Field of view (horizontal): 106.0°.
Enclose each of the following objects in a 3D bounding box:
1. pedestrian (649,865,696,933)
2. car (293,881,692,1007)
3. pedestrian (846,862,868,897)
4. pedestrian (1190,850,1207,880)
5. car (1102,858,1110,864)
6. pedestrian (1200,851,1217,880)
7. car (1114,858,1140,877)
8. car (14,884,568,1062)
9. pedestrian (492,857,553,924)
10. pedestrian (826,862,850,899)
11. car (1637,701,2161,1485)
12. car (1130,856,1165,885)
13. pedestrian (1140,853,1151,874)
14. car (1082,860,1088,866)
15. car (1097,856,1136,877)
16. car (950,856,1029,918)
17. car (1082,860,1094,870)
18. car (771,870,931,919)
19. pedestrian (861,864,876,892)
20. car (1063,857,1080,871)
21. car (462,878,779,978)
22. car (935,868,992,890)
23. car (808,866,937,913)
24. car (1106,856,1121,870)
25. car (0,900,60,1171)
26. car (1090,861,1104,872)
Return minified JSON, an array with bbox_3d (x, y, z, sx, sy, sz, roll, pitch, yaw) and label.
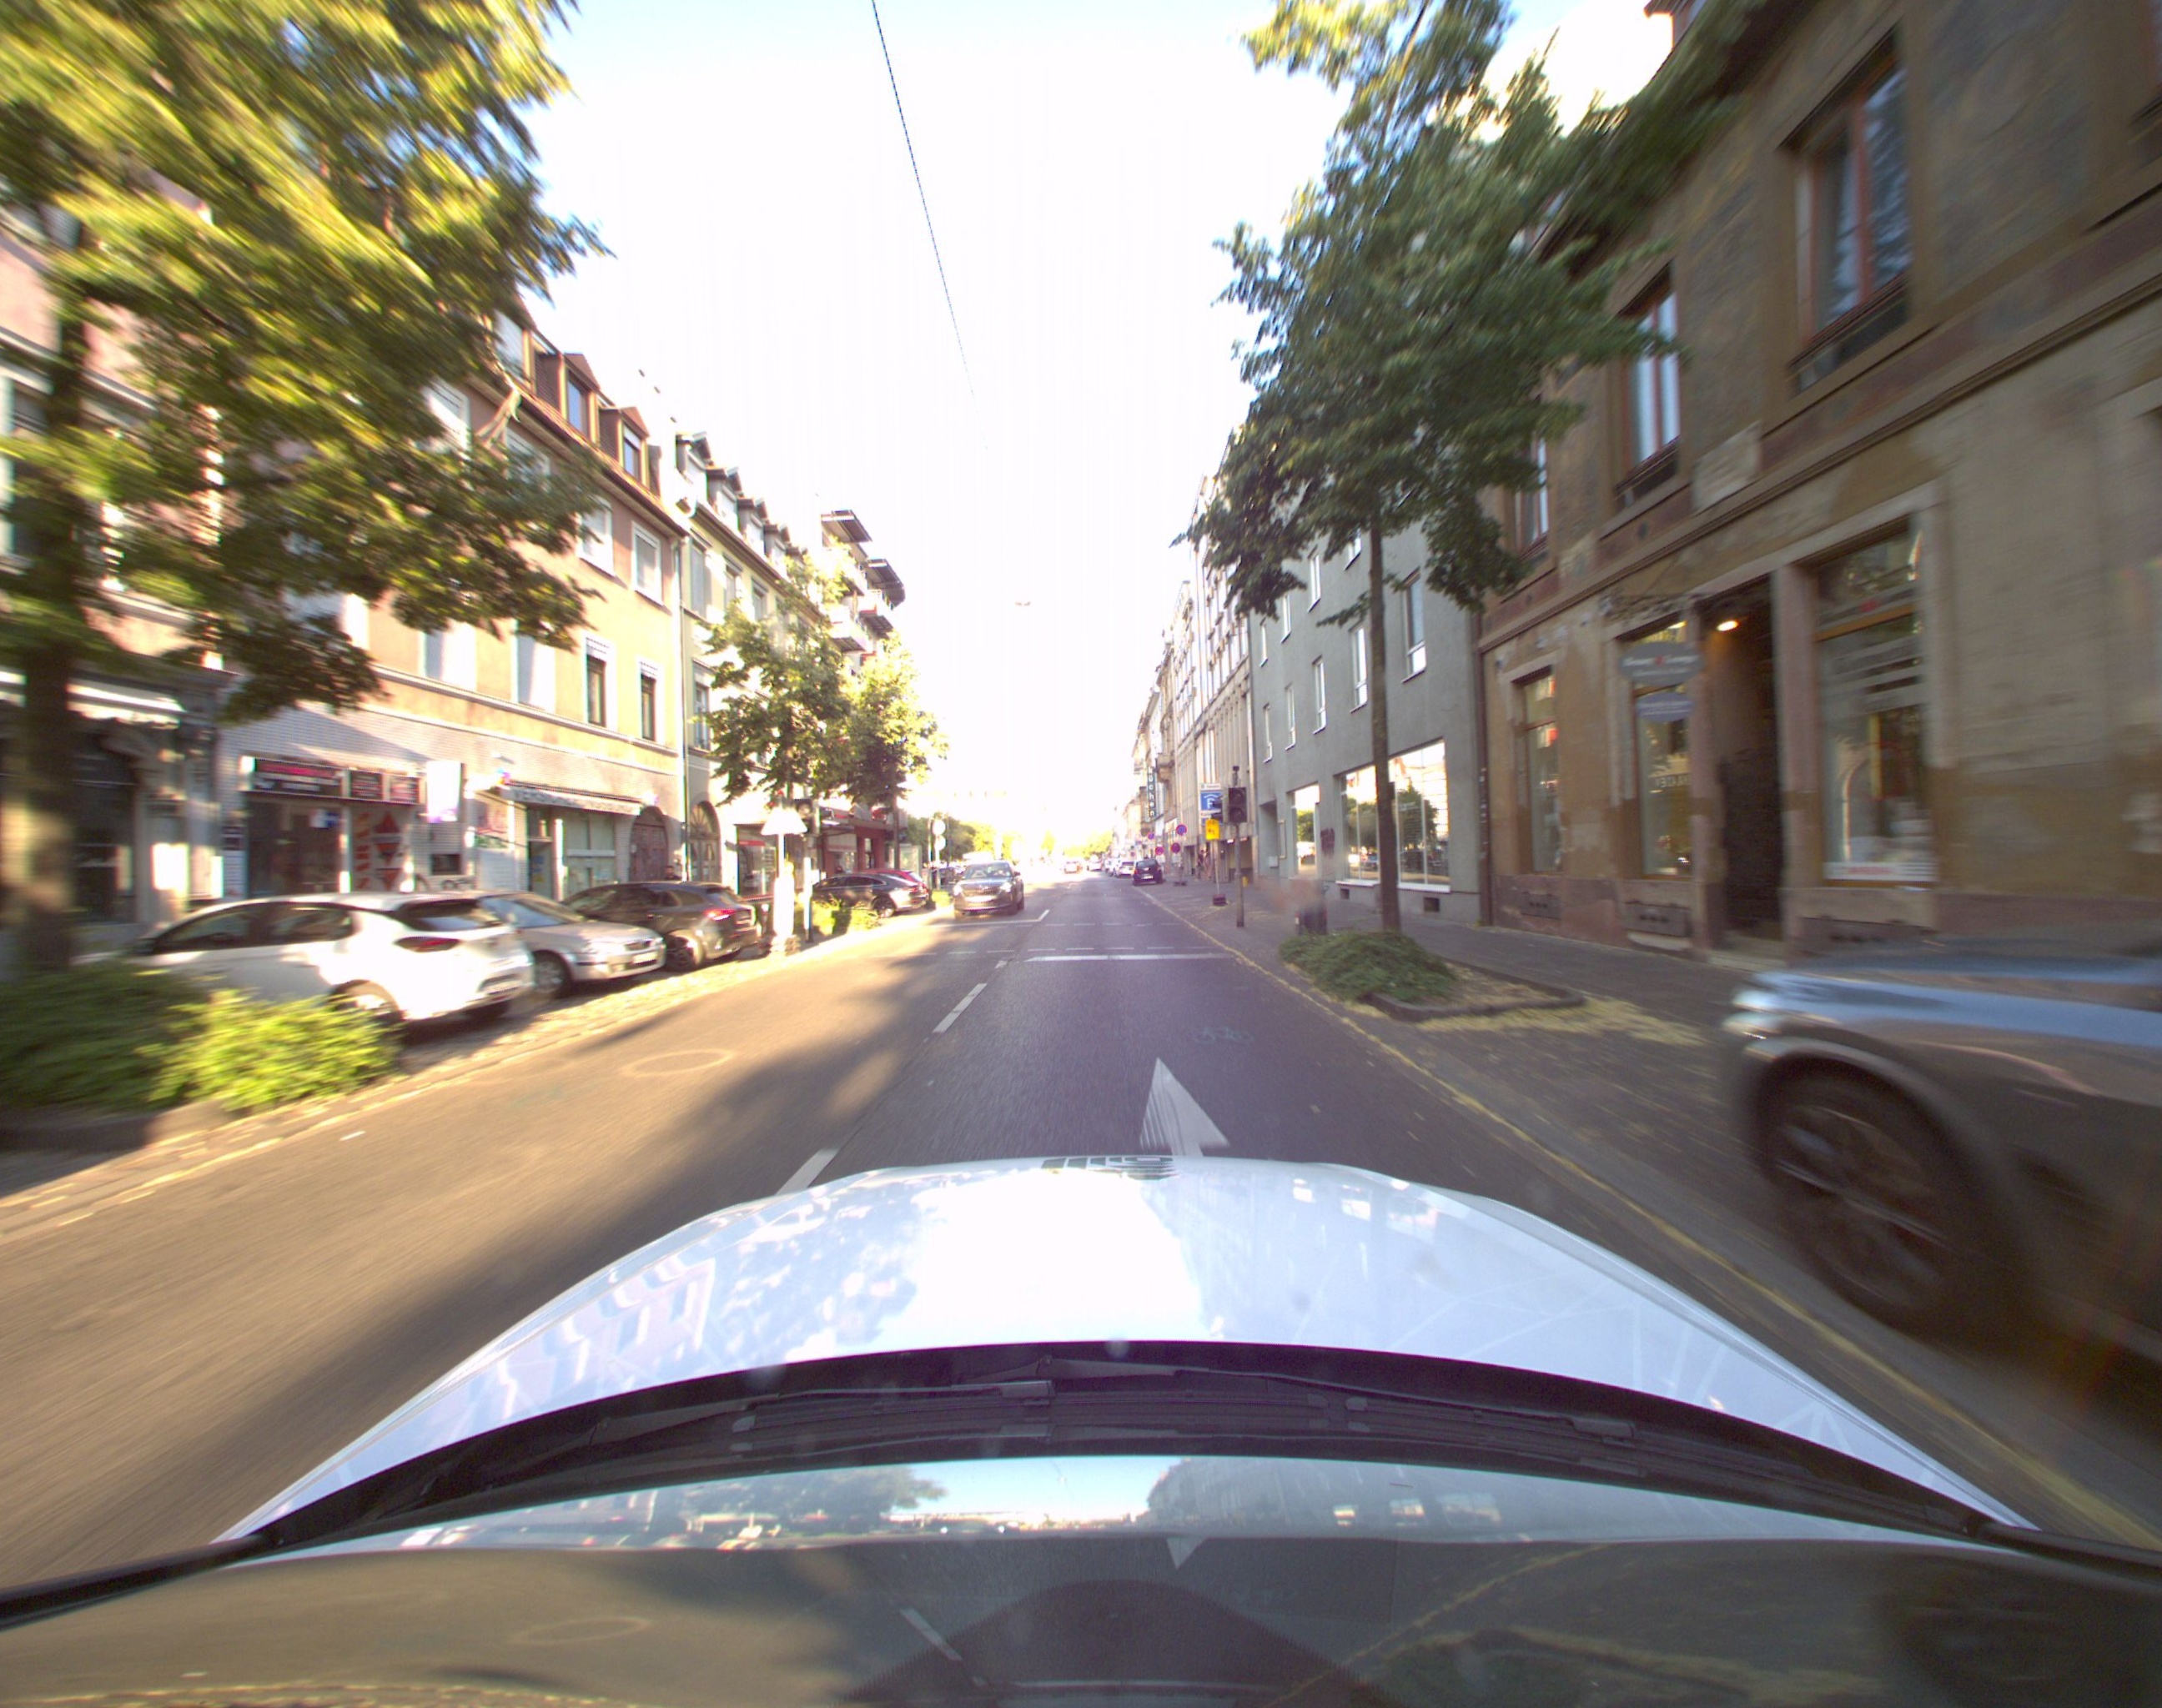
[{"bbox_3d":[-10.686,1.170,21.345,0.769,1.721,0.875,-1,-2,1],"label":"pedestrian"},{"bbox_3d":[-7.810,1.162,11.106,4.081,1.403,1.844,-2,-1,2],"label":"car"},{"bbox_3d":[-10.053,1.143,36.517,0.731,1.528,0.876,-1,-2,1],"label":"pedestrian"},{"bbox_3d":[6.553,0.614,45.454,0.606,1.599,0.769,-2,-1,-16],"label":"pedestrian"},{"bbox_3d":[6.715,1.936,219.387,1.890,1.581,3.851,-2,0,0],"label":"car"},{"bbox_3d":[7.156,0.620,45.701,0.606,1.599,0.769,-2,-1,-16],"label":"pedestrian"},{"bbox_3d":[3.768,1.105,67.121,1.754,1.537,4.818,0,-1,-1],"label":"car"},{"bbox_3d":[-7.651,1.093,8.227,3.729,1.444,1.804,-1,-1,-2],"label":"car"},{"bbox_3d":[-13.034,0.855,19.022,0.865,1.518,0.822,-2,-2,20],"label":"pedestrian"},{"bbox_3d":[-10.825,1.174,36.298,0.769,1.608,0.875,-1,-2,1],"label":"pedestrian"},{"bbox_3d":[3.342,0.465,1.046,2.031,1.737,4.712,-4,0,1],"label":"car"},{"bbox_3d":[3.936,0.957,48.573,1.752,1.536,4.001,-5,-1,2],"label":"car"},{"bbox_3d":[5.883,0.867,74.576,0.770,1.827,1.010,-4,-1,0],"label":"pedestrian"},{"bbox_3d":[1.083,2.359,223.749,1.774,1.547,3.999,-2,0,0],"label":"car"},{"bbox_3d":[3.251,1.169,75.360,2.001,1.761,4.433,-2,-1,-22],"label":"car"},{"bbox_3d":[-2.742,0.942,25.406,1.855,1.692,4.460,-2,0,0],"label":"car"},{"bbox_3d":[1.137,1.759,128.908,1.890,1.581,3.851,1,-1,0],"label":"car"},{"bbox_3d":[-7.267,1.259,26.008,4.557,1.407,1.821,-1,0,-1],"label":"car"},{"bbox_3d":[-12.410,1.428,47.639,0.594,1.595,0.702,-3,-2,2],"label":"pedestrian"},{"bbox_3d":[-1.140,1.178,100.492,1.890,1.649,4.104,-2,-1,0],"label":"car"},{"bbox_3d":[-7.408,1.151,13.453,4.096,1.403,1.882,-1,0,-2],"label":"car"},{"bbox_3d":[-8.598,1.818,59.785,3.979,1.581,1.900,-1,-1,-4],"label":"car"},{"bbox_3d":[-7.366,1.233,29.028,4.059,1.536,1.884,-1,0,0],"label":"car"},{"bbox_3d":[4.044,1.111,101.297,1.724,1.651,4.284,-1,-1,0],"label":"car"},{"bbox_3d":[-7.822,1.049,3.930,3.546,1.502,1.715,-1,-1,-1],"label":"car"},{"bbox_3d":[2.271,1.747,115.395,1.890,1.581,3.999,-1,-1,0],"label":"car"}]
